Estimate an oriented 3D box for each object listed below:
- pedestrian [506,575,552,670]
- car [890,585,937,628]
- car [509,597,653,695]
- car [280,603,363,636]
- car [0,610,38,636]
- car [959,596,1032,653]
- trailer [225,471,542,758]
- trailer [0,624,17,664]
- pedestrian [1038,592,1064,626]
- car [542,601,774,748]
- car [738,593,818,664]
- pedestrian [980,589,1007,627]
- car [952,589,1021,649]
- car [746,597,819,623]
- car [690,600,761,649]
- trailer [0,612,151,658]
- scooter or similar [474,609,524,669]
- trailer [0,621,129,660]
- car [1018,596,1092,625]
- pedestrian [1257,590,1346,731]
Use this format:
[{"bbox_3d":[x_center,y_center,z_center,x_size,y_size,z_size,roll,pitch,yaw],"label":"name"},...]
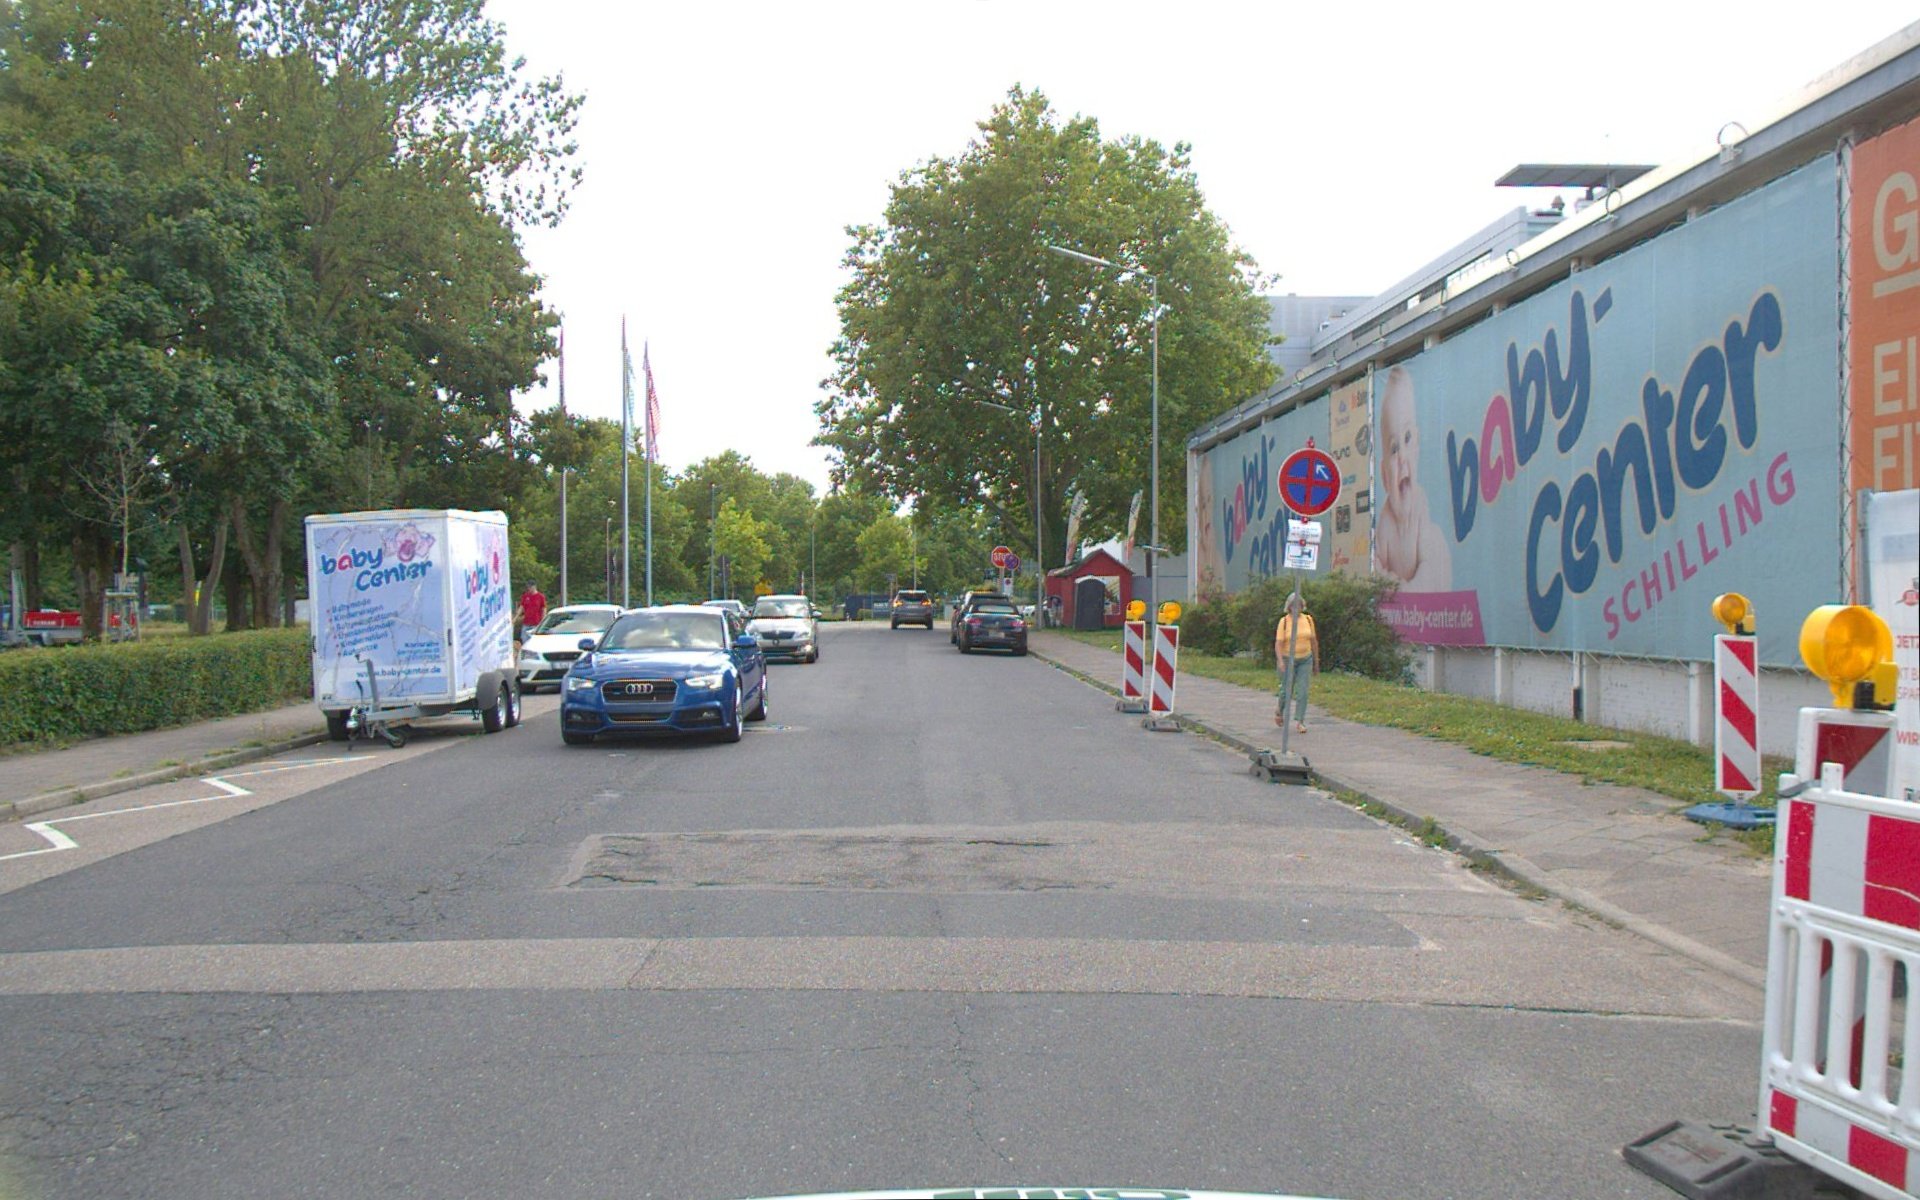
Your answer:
[{"bbox_3d":[-9.414,0.495,36.165,0.793,2.049,0.885,0,-1,-3],"label":"pedestrian"},{"bbox_3d":[-2.093,0.258,74.037,1.923,1.847,4.272,0,0,-4],"label":"car"},{"bbox_3d":[-6.675,0.758,29.531,1.730,1.505,4.232,-3,0,-3],"label":"car"},{"bbox_3d":[-45.597,1.394,118.123,5.183,2.250,1.796,-1,-1,-6],"label":"car"},{"bbox_3d":[-54.154,1.278,92.629,3.938,1.430,1.796,0,0,-4],"label":"car"},{"bbox_3d":[0.923,0.631,45.383,1.771,1.415,4.587,2,0,-1],"label":"car"},{"bbox_3d":[-6.466,0.136,19.214,2.097,2.831,4.701,-3,0,-3],"label":"trailer"},{"bbox_3d":[-24.241,1.019,37.808,4.150,0.929,2.021,0,-2,-4],"label":"trailer"},{"bbox_3d":[3.673,0.373,66.469,0.992,1.337,0.965,0,0,6],"label":"pedestrian"},{"bbox_3d":[-3.213,0.731,18.456,1.884,1.401,4.378,0,0,-2],"label":"car"},{"bbox_3d":[-4.145,0.618,38.063,1.559,1.490,3.759,-2,0,-3],"label":"car"},{"bbox_3d":[1.657,0.381,82.569,0.986,1.881,1.222,0,-1,-20],"label":"pedestrian"},{"bbox_3d":[0.773,0.557,51.565,1.772,1.694,4.637,2,0,-3],"label":"car"},{"bbox_3d":[-10.250,0.566,95.879,4.137,1.430,1.922,0,0,-4],"label":"car"},{"bbox_3d":[-7.663,0.780,54.333,1.675,1.444,4.330,-3,0,-1],"label":"car"},{"bbox_3d":[-24.942,0.959,46.301,3.737,1.211,1.716,0,1,3],"label":"trailer"},{"bbox_3d":[-9.545,0.788,34.305,0.506,1.214,1.281,0,0,9],"label":"scooter or similar"},{"bbox_3d":[-24.738,1.069,43.673,4.498,0.928,2.188,0,1,3],"label":"trailer"},{"bbox_3d":[5.553,0.613,97.141,4.137,1.607,1.922,0,0,-4],"label":"car"},{"bbox_3d":[3.886,0.670,18.878,0.668,1.560,1.128,0,0,-7],"label":"pedestrian"}]
